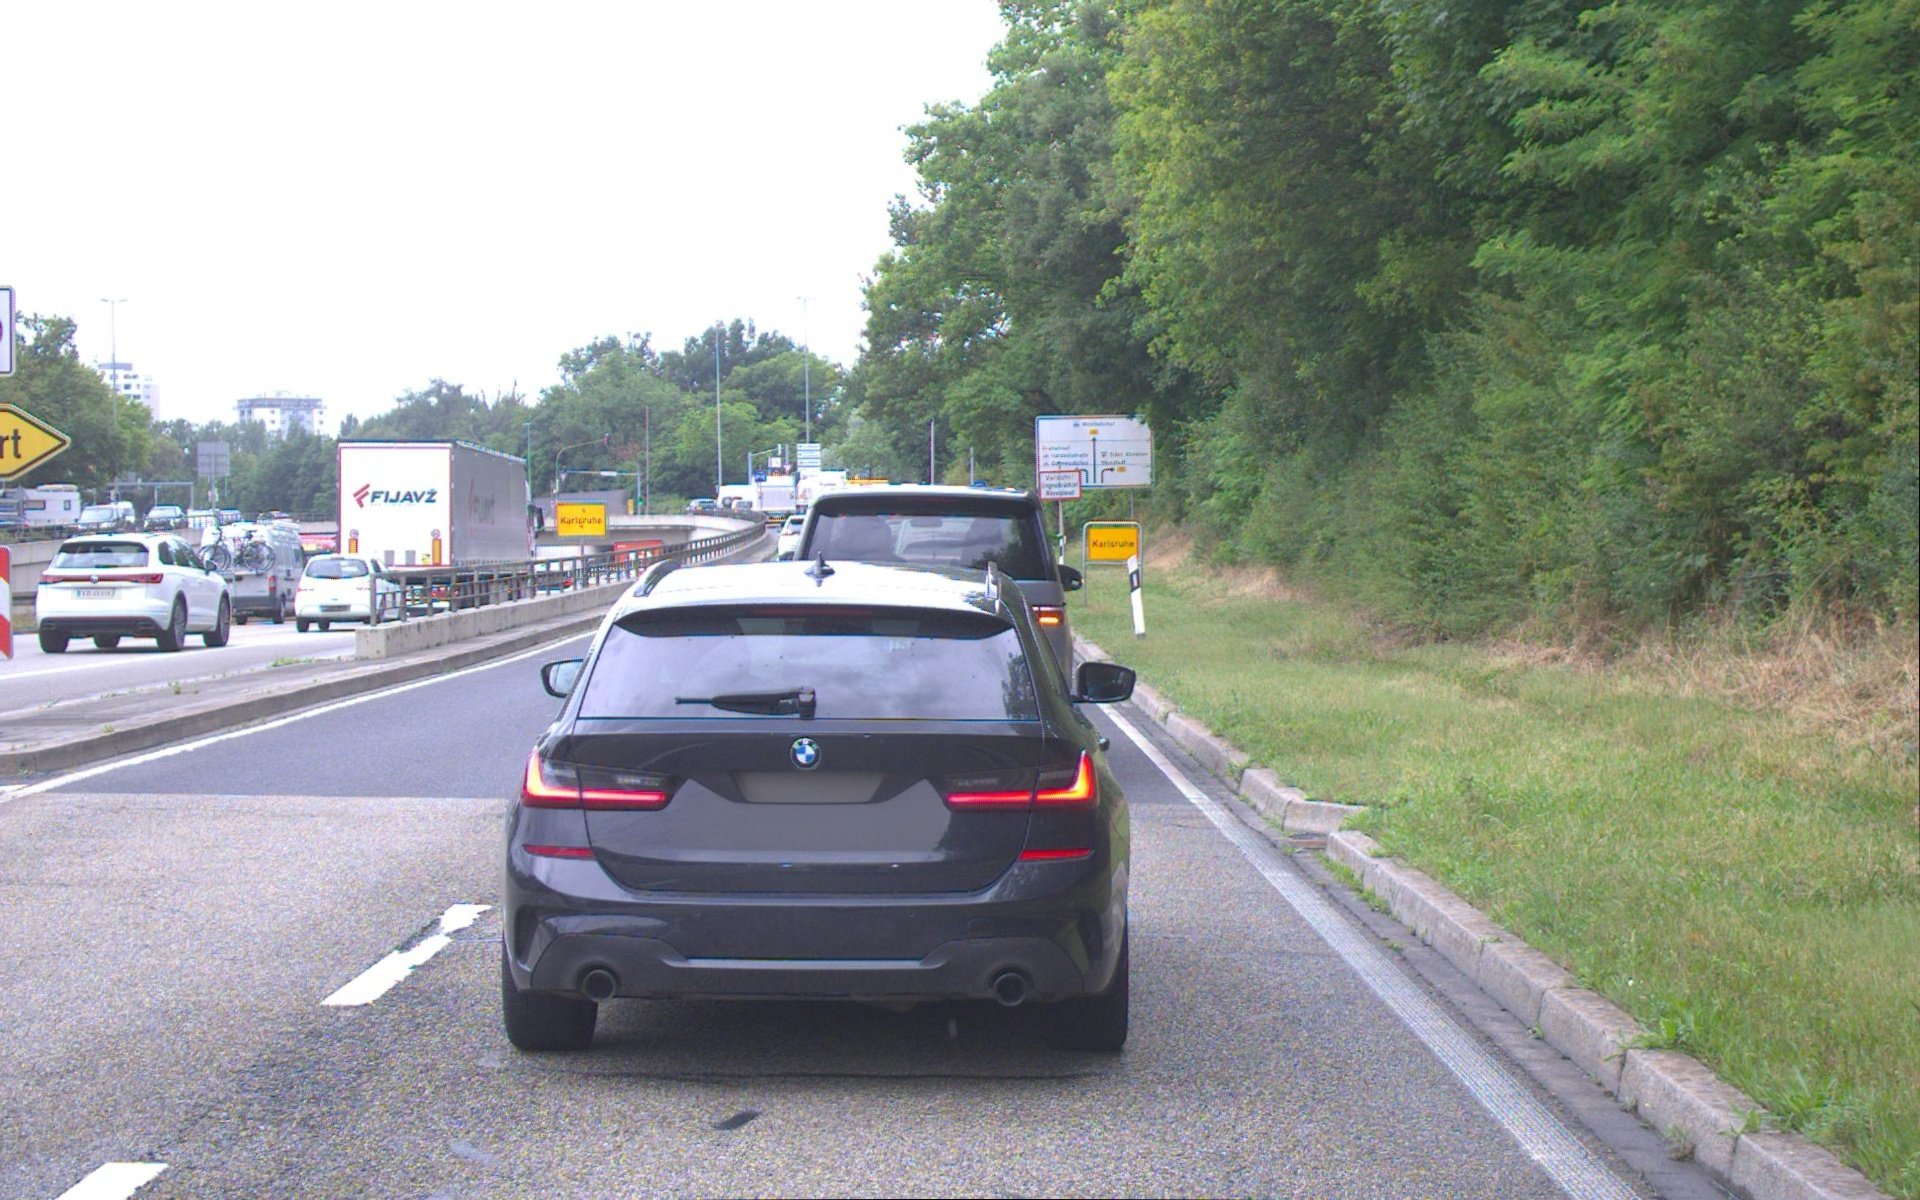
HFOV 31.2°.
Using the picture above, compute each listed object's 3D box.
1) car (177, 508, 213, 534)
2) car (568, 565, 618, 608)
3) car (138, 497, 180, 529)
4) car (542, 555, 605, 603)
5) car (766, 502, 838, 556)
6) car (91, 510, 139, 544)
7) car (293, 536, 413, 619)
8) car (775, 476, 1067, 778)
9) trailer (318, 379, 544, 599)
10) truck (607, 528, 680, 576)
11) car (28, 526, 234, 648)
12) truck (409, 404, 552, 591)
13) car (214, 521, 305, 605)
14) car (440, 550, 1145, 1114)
[{"bbox_3d":[-43.578,-4.513,195.858,1.437,1.441,3.244,0,1,-3],"label":"car"},{"bbox_3d":[-13.179,-0.504,123.555,1.448,1.485,3.062,0,1,1],"label":"car"},{"bbox_3d":[-41.366,-4.482,177.497,1.437,1.580,3.244,0,1,-1],"label":"car"},{"bbox_3d":[-12.744,-0.702,113.436,1.701,1.523,3.470,0,1,-1],"label":"car"},{"bbox_3d":[-4.749,-2.145,104.039,1.931,1.590,3.877,0,1,1],"label":"car"},{"bbox_3d":[-38.936,-3.366,158.375,1.437,1.568,3.244,0,1,-1],"label":"car"},{"bbox_3d":[-11.641,-0.455,66.116,1.768,1.544,3.493,0,1,-1],"label":"car"},{"bbox_3d":[-0.244,0.131,23.298,1.796,1.865,4.000,0,1,0],"label":"car"},{"bbox_3d":[-12.319,-2.515,81.601,3.132,4.709,14.559,1,1,0],"label":"trailer"},{"bbox_3d":[-17.022,-2.610,185.208,3.274,2.500,7.661,0,1,-1],"label":"truck"},{"bbox_3d":[-12.010,-0.229,50.105,1.946,1.686,4.507,0,1,-1],"label":"car"},{"bbox_3d":[-12.416,-2.632,89.289,3.084,4.681,4.232,1,1,0],"label":"truck"},{"bbox_3d":[-17.295,-0.938,85.017,1.443,2.037,3.680,0,1,1],"label":"car"},{"bbox_3d":[-0.502,0.580,11.021,1.846,1.461,4.000,0,1,-2],"label":"car"}]
